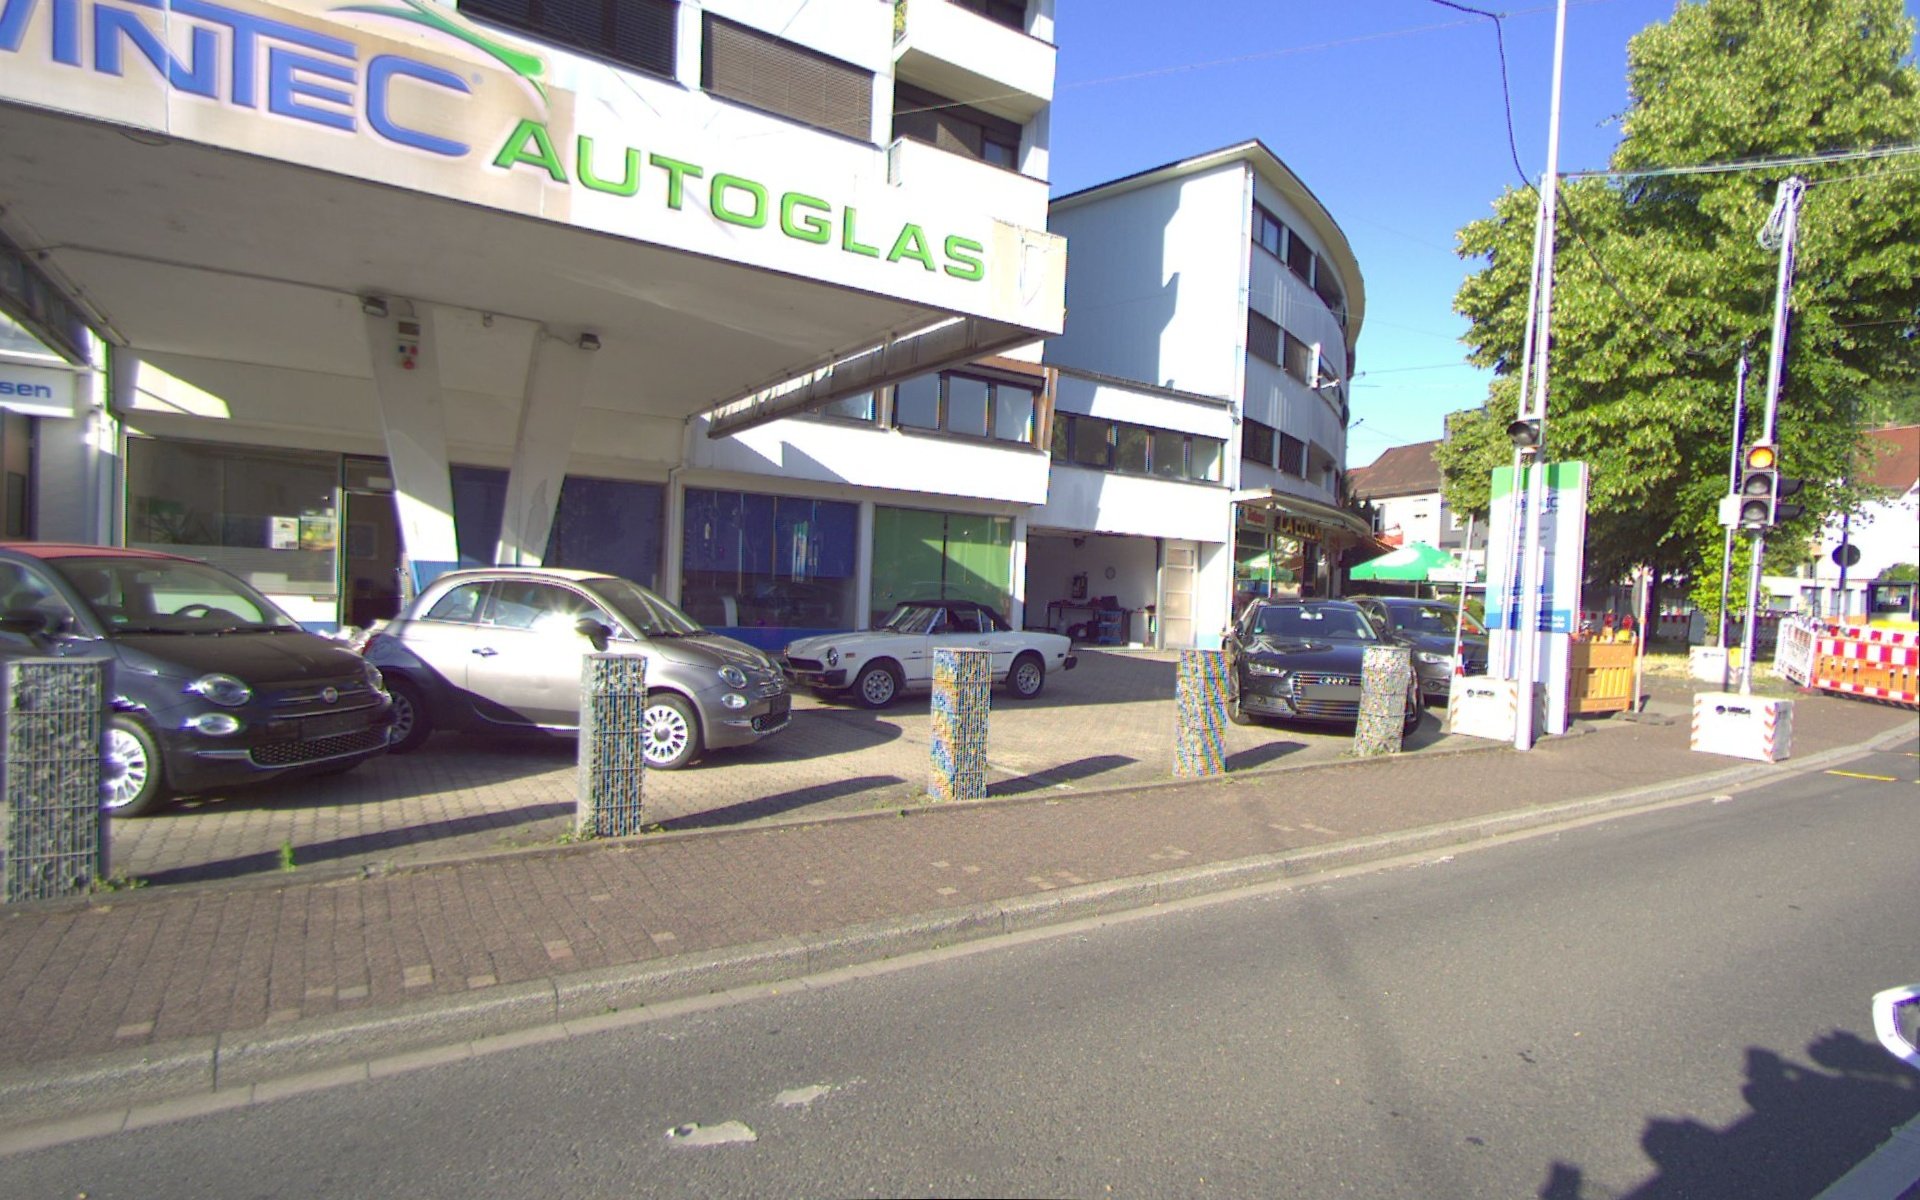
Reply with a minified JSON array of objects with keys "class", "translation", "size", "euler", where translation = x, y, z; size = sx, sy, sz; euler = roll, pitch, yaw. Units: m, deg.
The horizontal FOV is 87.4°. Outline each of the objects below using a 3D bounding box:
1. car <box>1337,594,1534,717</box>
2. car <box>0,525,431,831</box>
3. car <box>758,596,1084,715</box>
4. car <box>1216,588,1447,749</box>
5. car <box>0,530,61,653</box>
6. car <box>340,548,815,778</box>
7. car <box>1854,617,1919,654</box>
[{"class":"car","translation":[7.022,0.706,15.303],"size":[1.617,1.474,4.301],"euler":[3,2,11]},{"class":"car","translation":[-5.456,0.365,6.456],"size":[3.325,1.589,1.623],"euler":[2,1,12]},{"class":"car","translation":[-0.420,0.629,13.133],"size":[4.099,1.301,1.575],"euler":[0,1,-36]},{"class":"car","translation":[4.246,0.655,12.195],"size":[1.872,1.474,4.315],"euler":[3,2,11]},{"class":"car","translation":[-15.310,-0.231,15.414],"size":[1.755,1.733,4.272],"euler":[1,2,-35]},{"class":"car","translation":[-3.082,0.455,8.471],"size":[3.325,1.589,1.623],"euler":[2,1,7]},{"class":"car","translation":[38.447,1.442,40.282],"size":[1.764,1.428,4.002],"euler":[2,0,4]}]
